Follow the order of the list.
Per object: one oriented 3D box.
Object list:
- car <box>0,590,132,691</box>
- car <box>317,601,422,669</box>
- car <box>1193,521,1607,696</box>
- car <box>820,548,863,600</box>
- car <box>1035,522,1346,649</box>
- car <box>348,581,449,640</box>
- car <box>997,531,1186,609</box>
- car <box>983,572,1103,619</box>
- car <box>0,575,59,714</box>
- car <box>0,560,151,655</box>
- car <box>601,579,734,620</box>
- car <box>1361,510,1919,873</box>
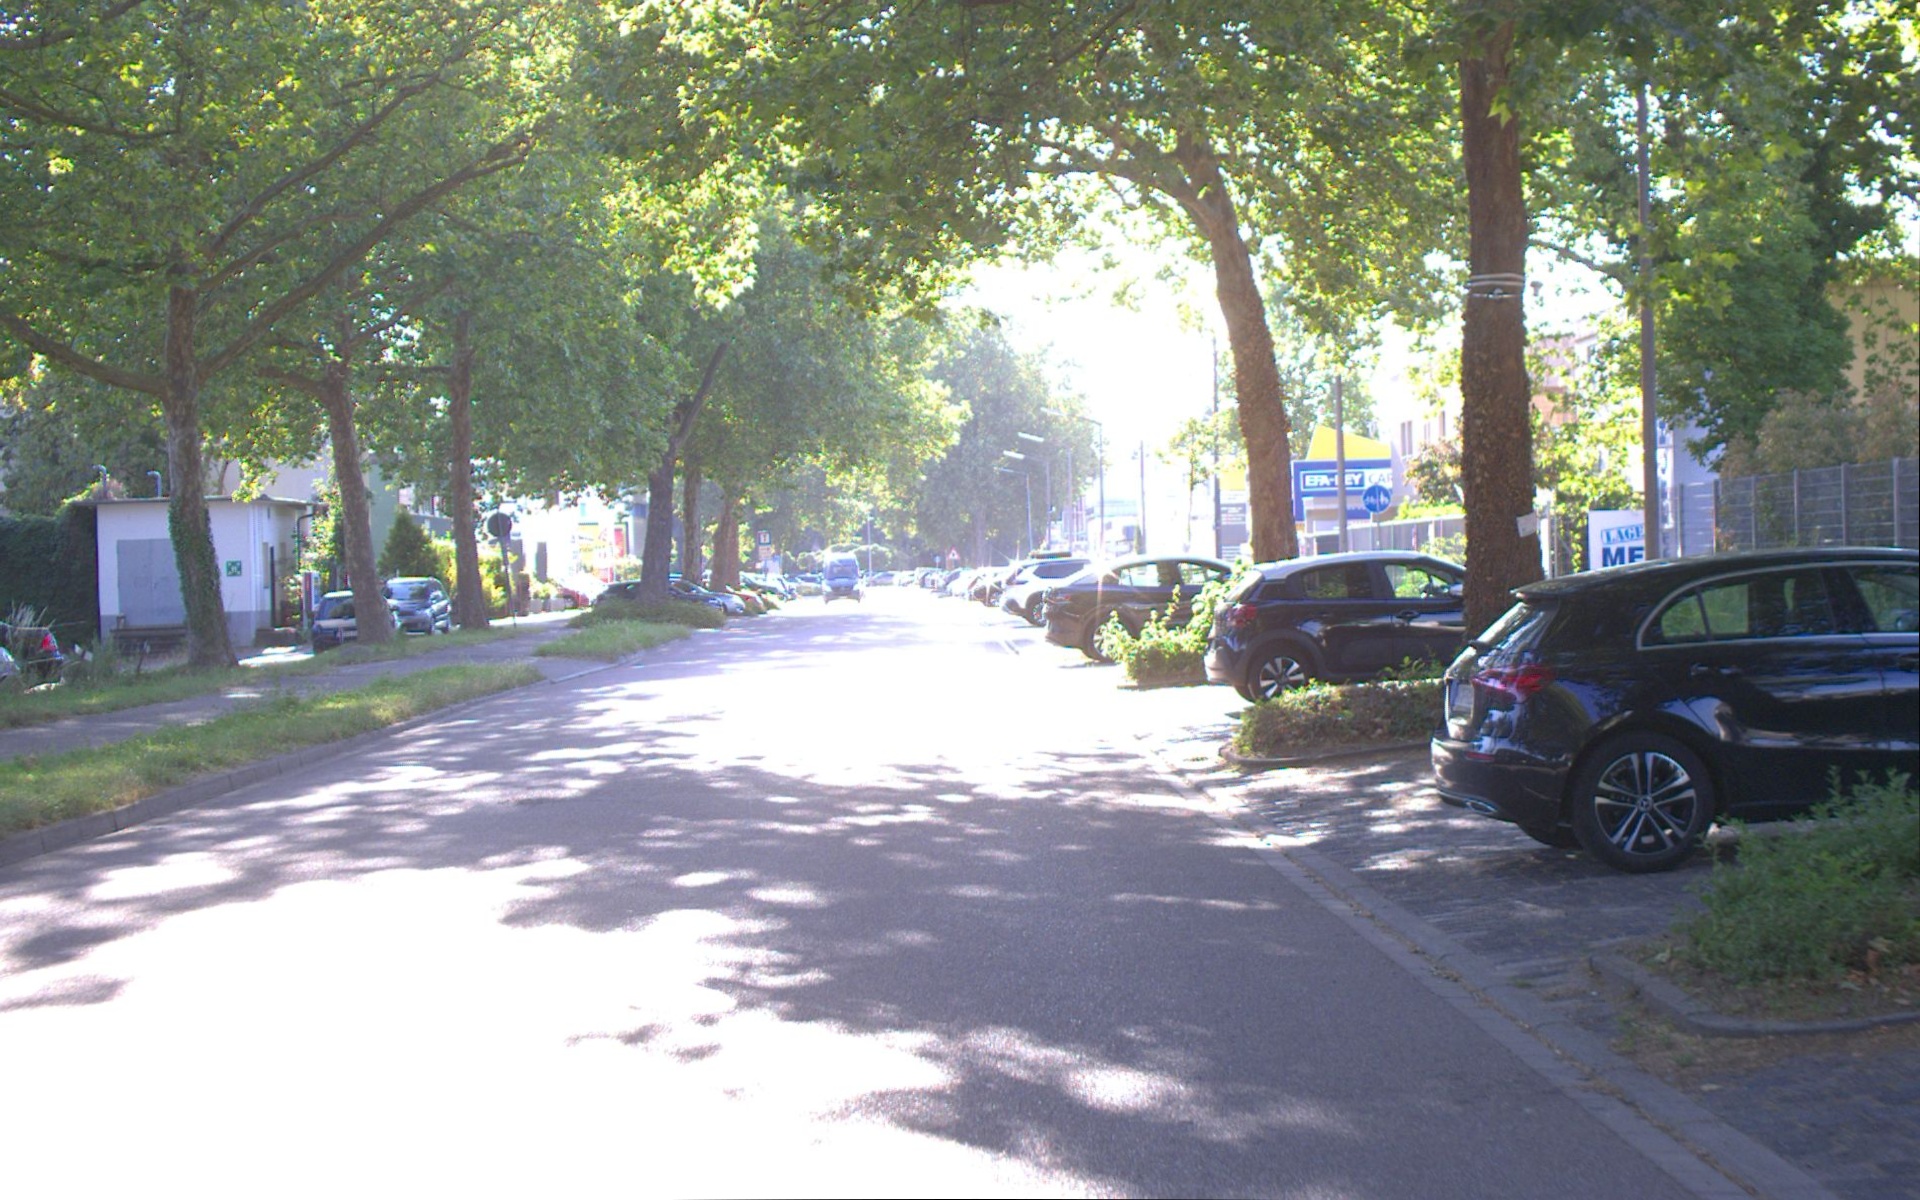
[{"bbox_3d":[-13.394,0.536,45.179,4.472,1.301,1.999,-1,0,-42],"label":"car"},{"bbox_3d":[-13.585,0.803,79.261,1.993,1.365,3.921,-5,0,-5],"label":"car"},{"bbox_3d":[4.372,0.092,34.543,3.784,1.481,1.861,-4,0,-2],"label":"car"},{"bbox_3d":[-6.176,-1.356,179.946,2.127,2.650,7.001,-1,1,-1],"label":"car"},{"bbox_3d":[3.590,-0.218,54.049,4.569,1.710,1.943,-3,0,-4],"label":"car"},{"bbox_3d":[-15.433,0.304,94.666,1.993,1.571,4.273,1,-1,1],"label":"car"},{"bbox_3d":[3.350,-0.763,88.537,4.624,1.706,2.000,-3,0,-2],"label":"car"},{"bbox_3d":[3.276,-0.183,135.918,4.601,1.574,2.000,-3,-1,1],"label":"car"},{"bbox_3d":[-13.698,0.518,42.550,4.471,1.725,1.999,1,-1,-38],"label":"car"},{"bbox_3d":[-13.862,0.105,48.247,4.472,1.301,1.999,-1,0,-42],"label":"car"},{"bbox_3d":[-10.377,-0.009,122.147,4.599,1.417,2.000,0,1,-1],"label":"car"},{"bbox_3d":[4.265,0.344,16.596,4.283,1.481,1.861,-4,0,-2],"label":"car"}]
